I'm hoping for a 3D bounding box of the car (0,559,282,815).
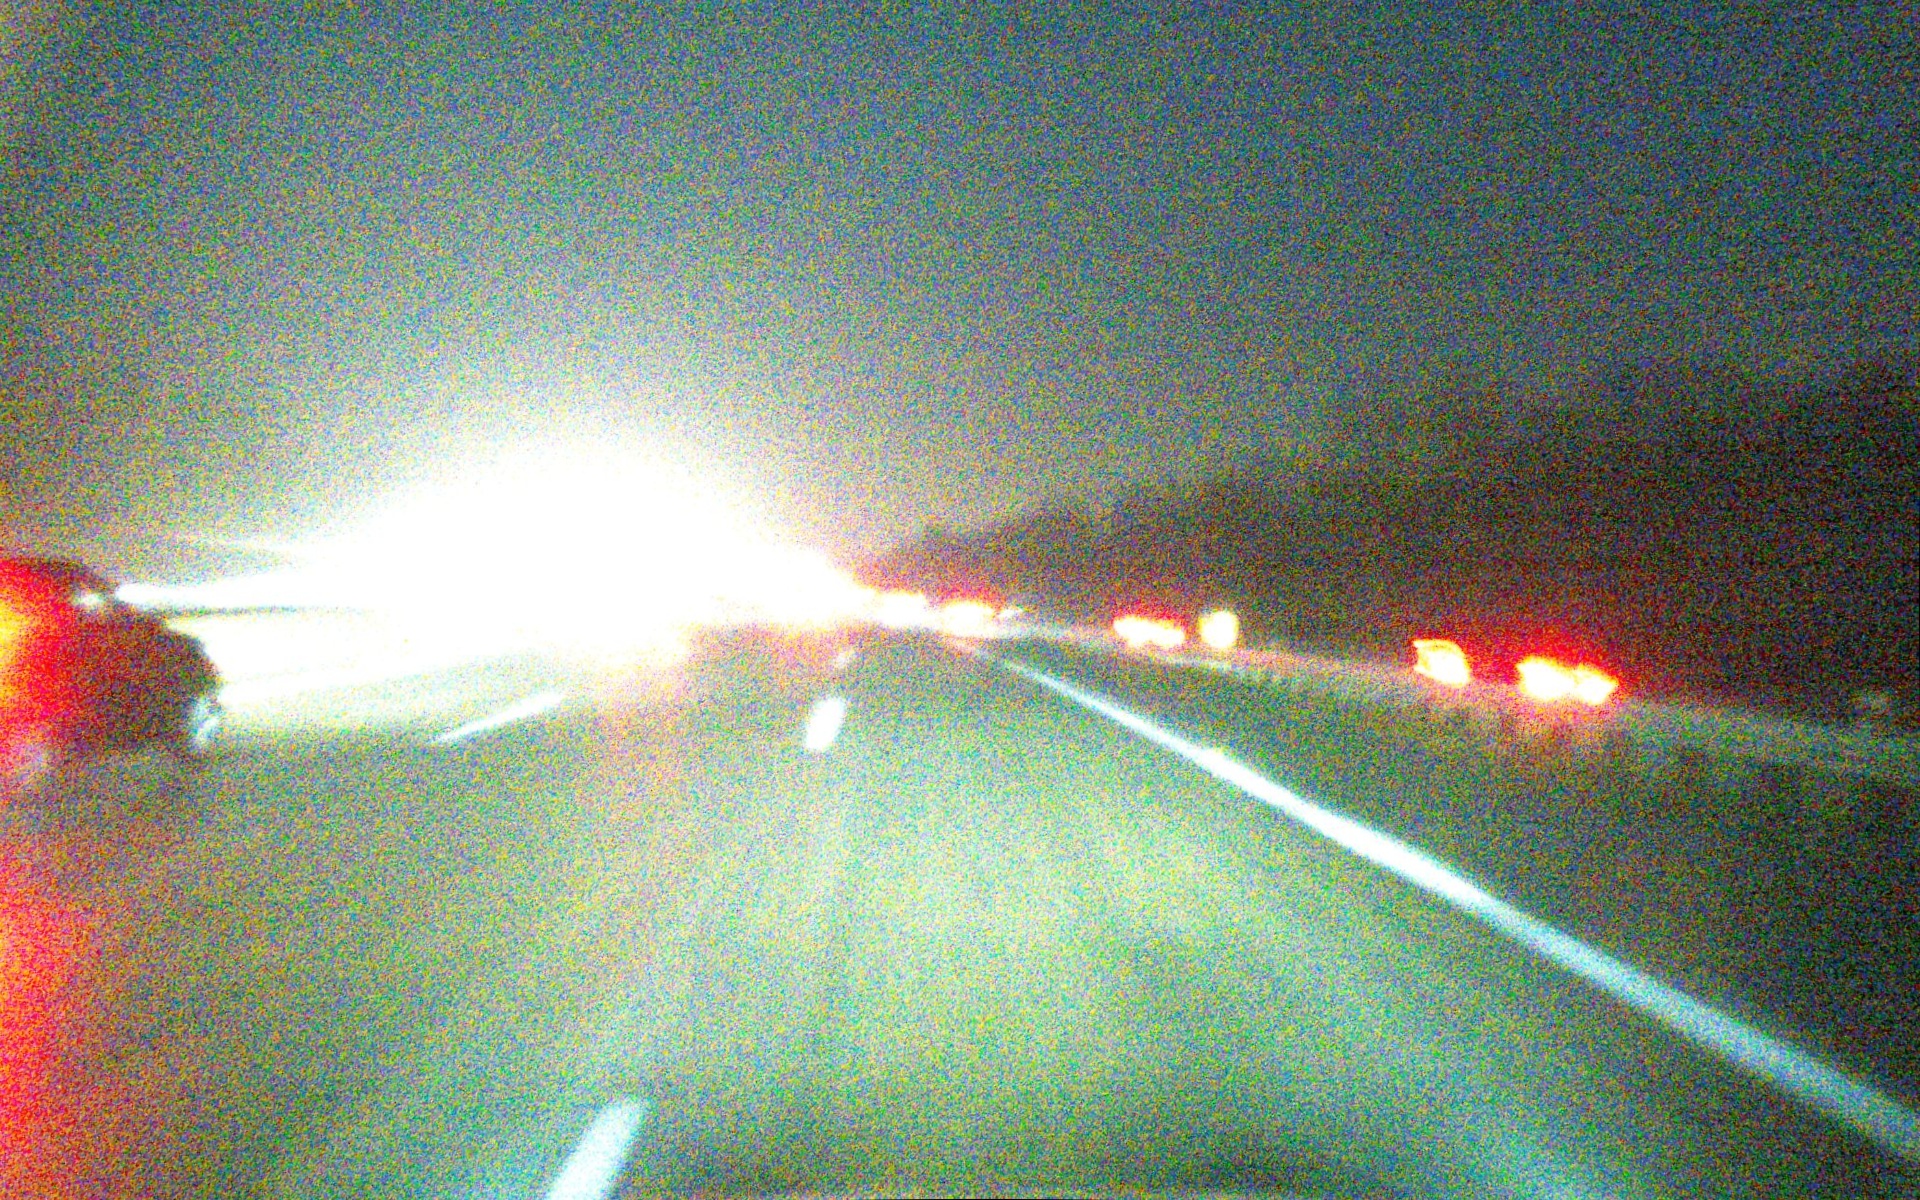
[{"bbox_3d":[-6.806,0.556,12.417,1.822,1.568,4.745,1,-1,-5],"label":"car"}]

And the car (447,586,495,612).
[{"bbox_3d":[-25.319,-0.049,85.711,1.630,1.258,3.757,1,-1,-5],"label":"car"}]

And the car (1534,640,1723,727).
[{"bbox_3d":[13.925,1.696,34.742,1.954,1.474,4.332,4,0,-3],"label":"car"}]

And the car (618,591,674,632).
[{"bbox_3d":[-10.102,0.398,53.346,1.631,1.258,3.753,1,-1,-9],"label":"car"}]

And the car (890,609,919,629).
[{"bbox_3d":[-3.992,1.368,119.039,1.553,1.268,3.060,4,-1,-11],"label":"car"}]

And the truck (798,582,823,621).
[{"bbox_3d":[-12.623,0.148,138.979,1.955,3.096,6.456,1,-1,-6],"label":"truck"}]

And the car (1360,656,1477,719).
[{"bbox_3d":[13.722,2.587,49.751,1.689,1.523,4.033,5,0,-11],"label":"car"}]

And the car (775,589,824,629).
[{"bbox_3d":[-6.392,0.387,66.129,1.766,1.513,3.997,1,-1,-3],"label":"car"}]
